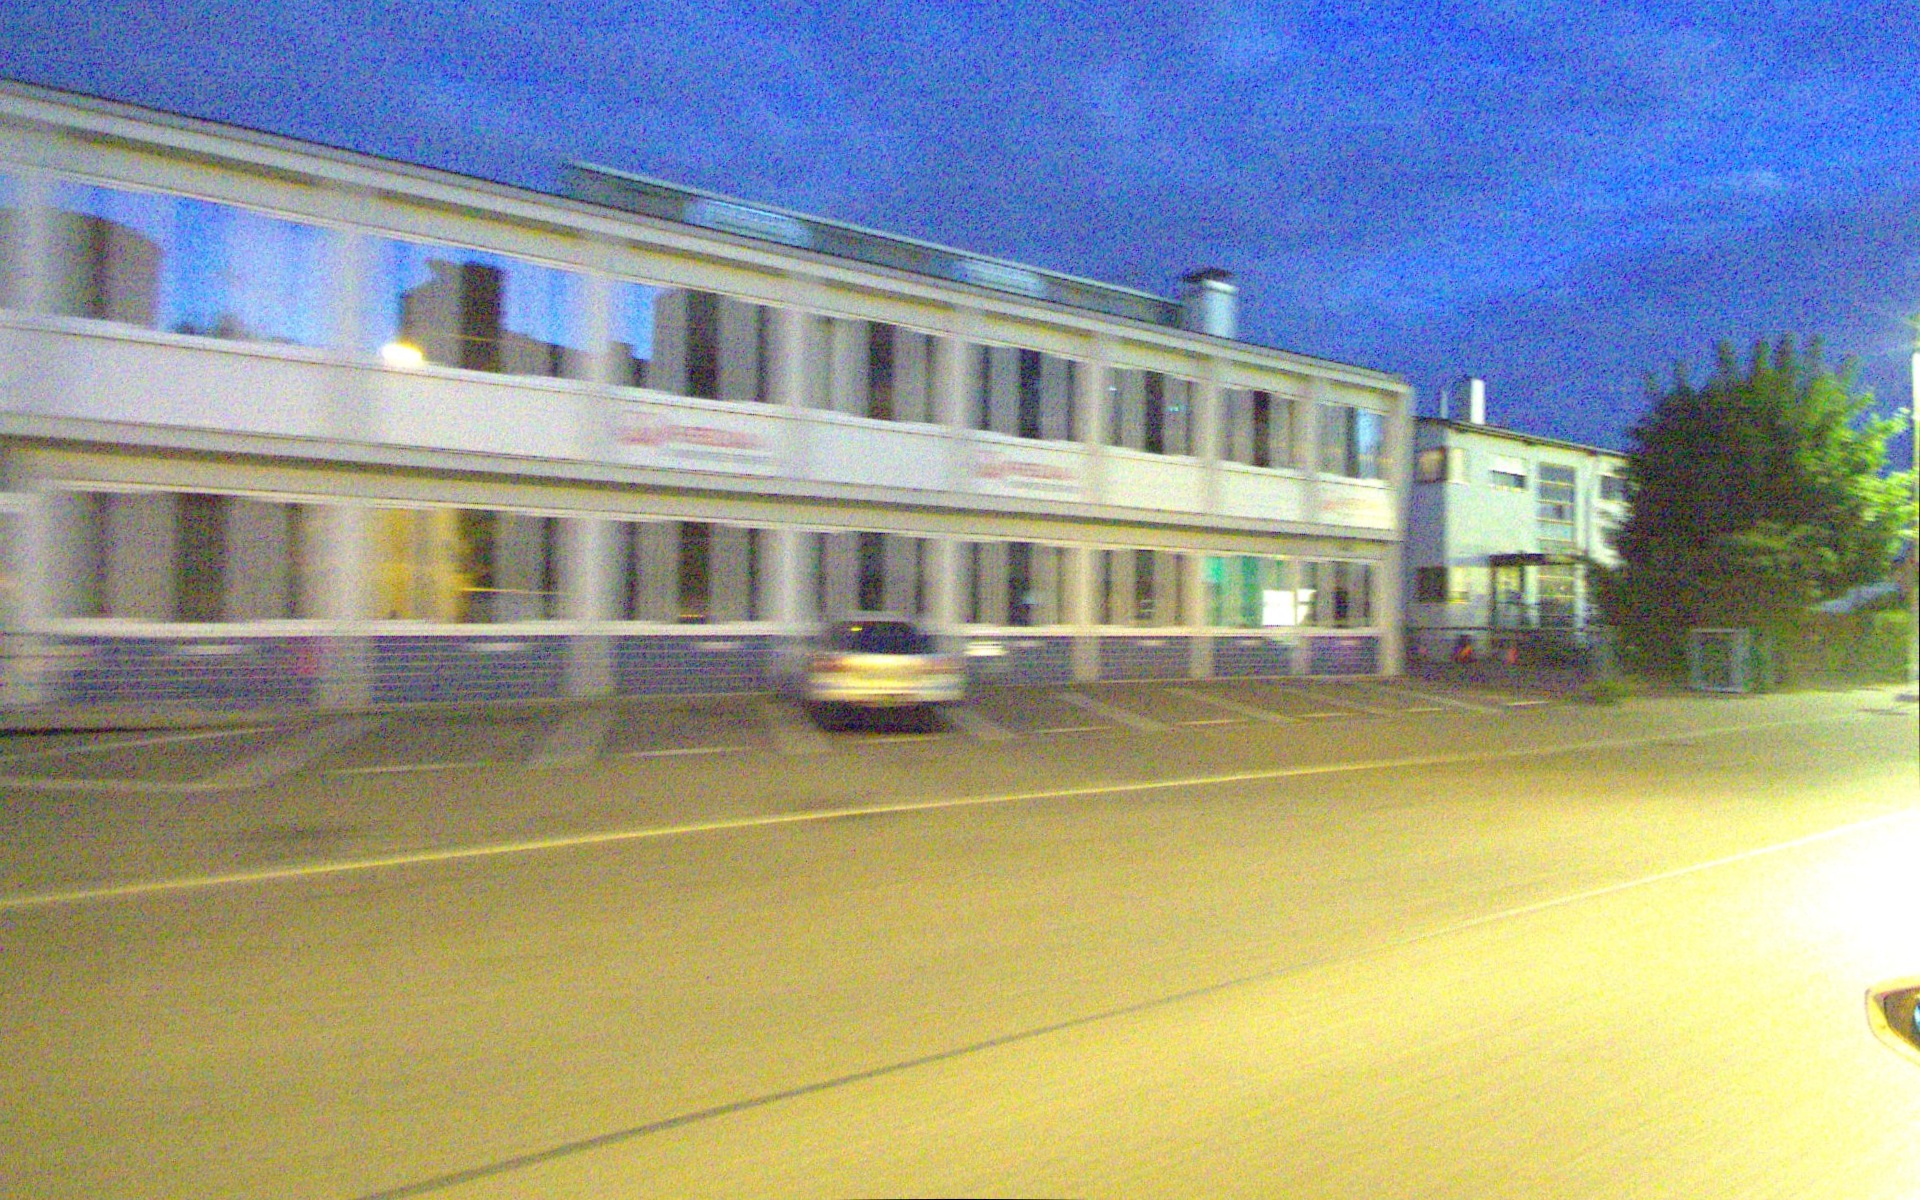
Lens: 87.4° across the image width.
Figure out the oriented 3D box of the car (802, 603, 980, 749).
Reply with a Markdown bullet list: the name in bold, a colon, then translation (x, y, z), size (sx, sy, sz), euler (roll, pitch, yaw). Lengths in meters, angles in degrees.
- **car**: translation (-1.109, 0.900, 13.752), size (1.863, 1.452, 4.131), euler (1, 3, -12)
